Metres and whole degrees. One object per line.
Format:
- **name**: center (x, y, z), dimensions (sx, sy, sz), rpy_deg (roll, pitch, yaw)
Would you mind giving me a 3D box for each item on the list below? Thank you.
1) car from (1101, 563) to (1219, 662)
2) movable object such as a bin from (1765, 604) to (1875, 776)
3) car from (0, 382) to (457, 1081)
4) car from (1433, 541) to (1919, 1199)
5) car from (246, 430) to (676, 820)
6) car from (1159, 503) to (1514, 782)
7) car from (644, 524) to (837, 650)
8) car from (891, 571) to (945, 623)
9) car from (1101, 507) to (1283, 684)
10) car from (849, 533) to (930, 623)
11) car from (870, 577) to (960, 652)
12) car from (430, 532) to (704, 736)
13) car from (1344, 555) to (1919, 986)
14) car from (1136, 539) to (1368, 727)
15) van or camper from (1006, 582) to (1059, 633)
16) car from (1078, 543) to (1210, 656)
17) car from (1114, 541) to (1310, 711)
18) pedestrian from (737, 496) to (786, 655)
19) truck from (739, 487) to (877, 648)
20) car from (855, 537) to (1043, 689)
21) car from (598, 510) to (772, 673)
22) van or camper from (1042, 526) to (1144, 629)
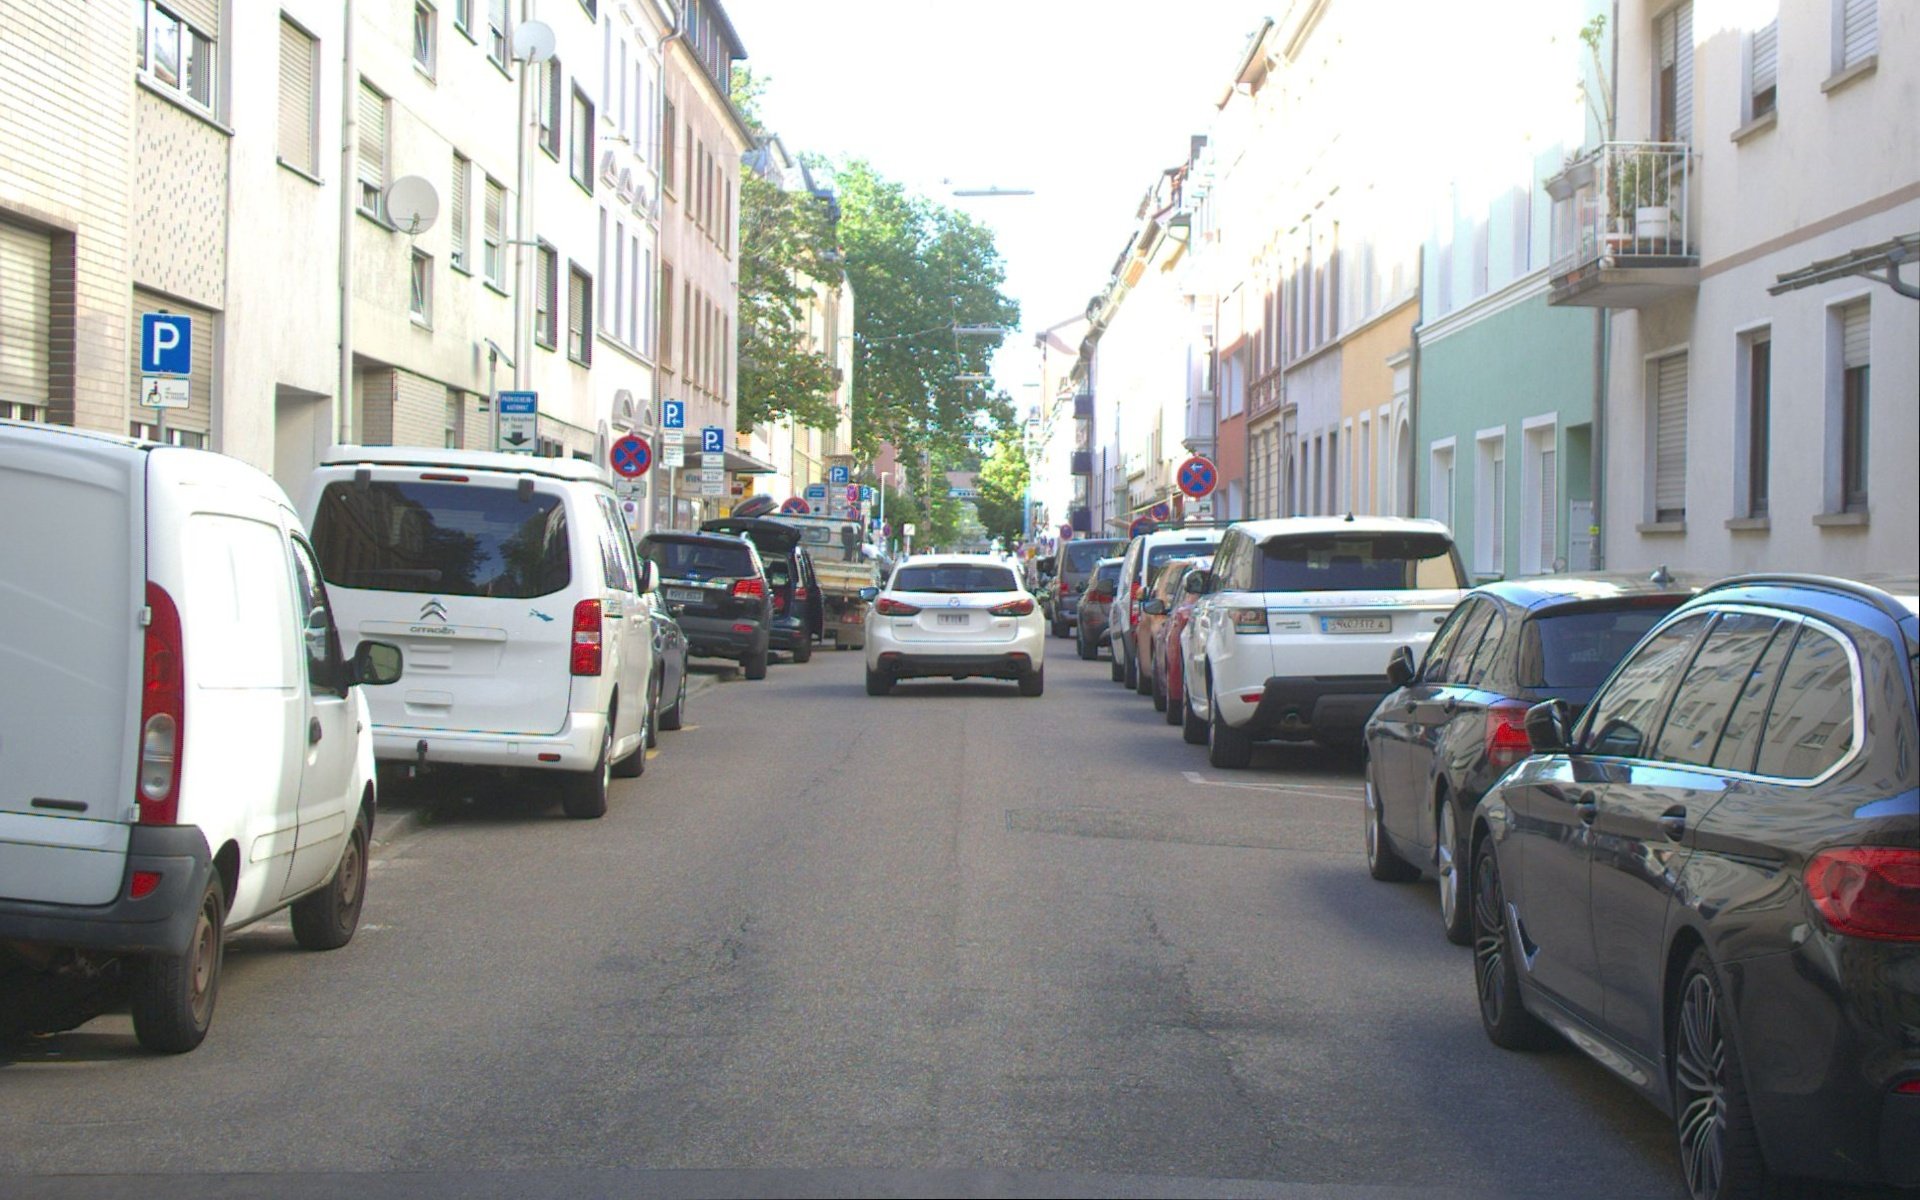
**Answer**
- **car**: center (3.378, 0.182, 58.630), dimensions (1.742, 1.563, 4.032), rpy_deg (1, 1, 0)
- **movable object such as a bin**: center (5.416, 0.560, 21.674), dimensions (0.577, 1.067, 0.553), rpy_deg (0, 1, 3)
- **car**: center (-2.926, 0.271, 11.473), dimensions (1.744, 1.870, 4.090), rpy_deg (5, 1, 0)
- **car**: center (2.479, 0.663, 8.849), dimensions (1.815, 1.514, 4.728), rpy_deg (3, 1, 0)
- **car**: center (-2.819, 0.081, 20.468), dimensions (1.894, 1.951, 4.782), rpy_deg (3, 1, -2)
- **car**: center (2.592, 0.224, 24.825), dimensions (2.005, 1.777, 4.939), rpy_deg (1, 1, 0)
- **car**: center (-3.171, -0.212, 50.774), dimensions (2.441, 1.700, 5.242), rpy_deg (2, 1, 0)
- **car**: center (-1.337, -0.113, 110.864), dimensions (1.625, 1.591, 3.580), rpy_deg (2, 1, 1)
- **car**: center (2.698, -0.062, 40.805), dimensions (1.782, 1.955, 4.336), rpy_deg (1, 0, -1)
- **car**: center (-1.555, -0.489, 74.284), dimensions (1.647, 1.861, 4.000), rpy_deg (1, 1, -2)
- **car**: center (-0.912, 0.270, 69.714), dimensions (1.758, 1.411, 4.000), rpy_deg (-1, 1, -1)
- **car**: center (-3.040, 0.222, 27.329), dimensions (1.706, 1.445, 4.302), rpy_deg (2, 1, -1)
- **car**: center (2.728, 0.596, 14.398), dimensions (1.746, 1.443, 3.870), rpy_deg (3, 1, 0)
- **car**: center (2.587, 0.244, 31.286), dimensions (1.742, 1.563, 4.032), rpy_deg (1, 1, 0)
- **van or camper**: center (2.807, 0.312, 133.809), dimensions (1.993, 1.919, 4.000), rpy_deg (1, -1, 1)
- **car**: center (2.736, -0.039, 51.821), dimensions (1.739, 1.571, 4.378), rpy_deg (1, 1, 0)
- **car**: center (2.586, 0.228, 35.998), dimensions (1.580, 1.626, 3.682), rpy_deg (3, 1, -2)
- **pedestrian**: center (-2.798, -0.343, 48.417), dimensions (0.619, 2.221, 0.688), rpy_deg (1, -1, 1)
- **truck**: center (-2.651, -0.504, 58.527), dimensions (2.156, 2.581, 6.250), rpy_deg (1, 0, -4)
- **car**: center (-0.062, 0.108, 36.069), dimensions (1.834, 1.481, 4.057), rpy_deg (1, 1, 1)
- **car**: center (-3.291, -0.154, 41.918), dimensions (1.879, 1.749, 4.543), rpy_deg (4, 1, -3)
- **van or camper**: center (2.707, -0.461, 70.872), dimensions (1.775, 2.029, 4.570), rpy_deg (-1, 0, -2)
